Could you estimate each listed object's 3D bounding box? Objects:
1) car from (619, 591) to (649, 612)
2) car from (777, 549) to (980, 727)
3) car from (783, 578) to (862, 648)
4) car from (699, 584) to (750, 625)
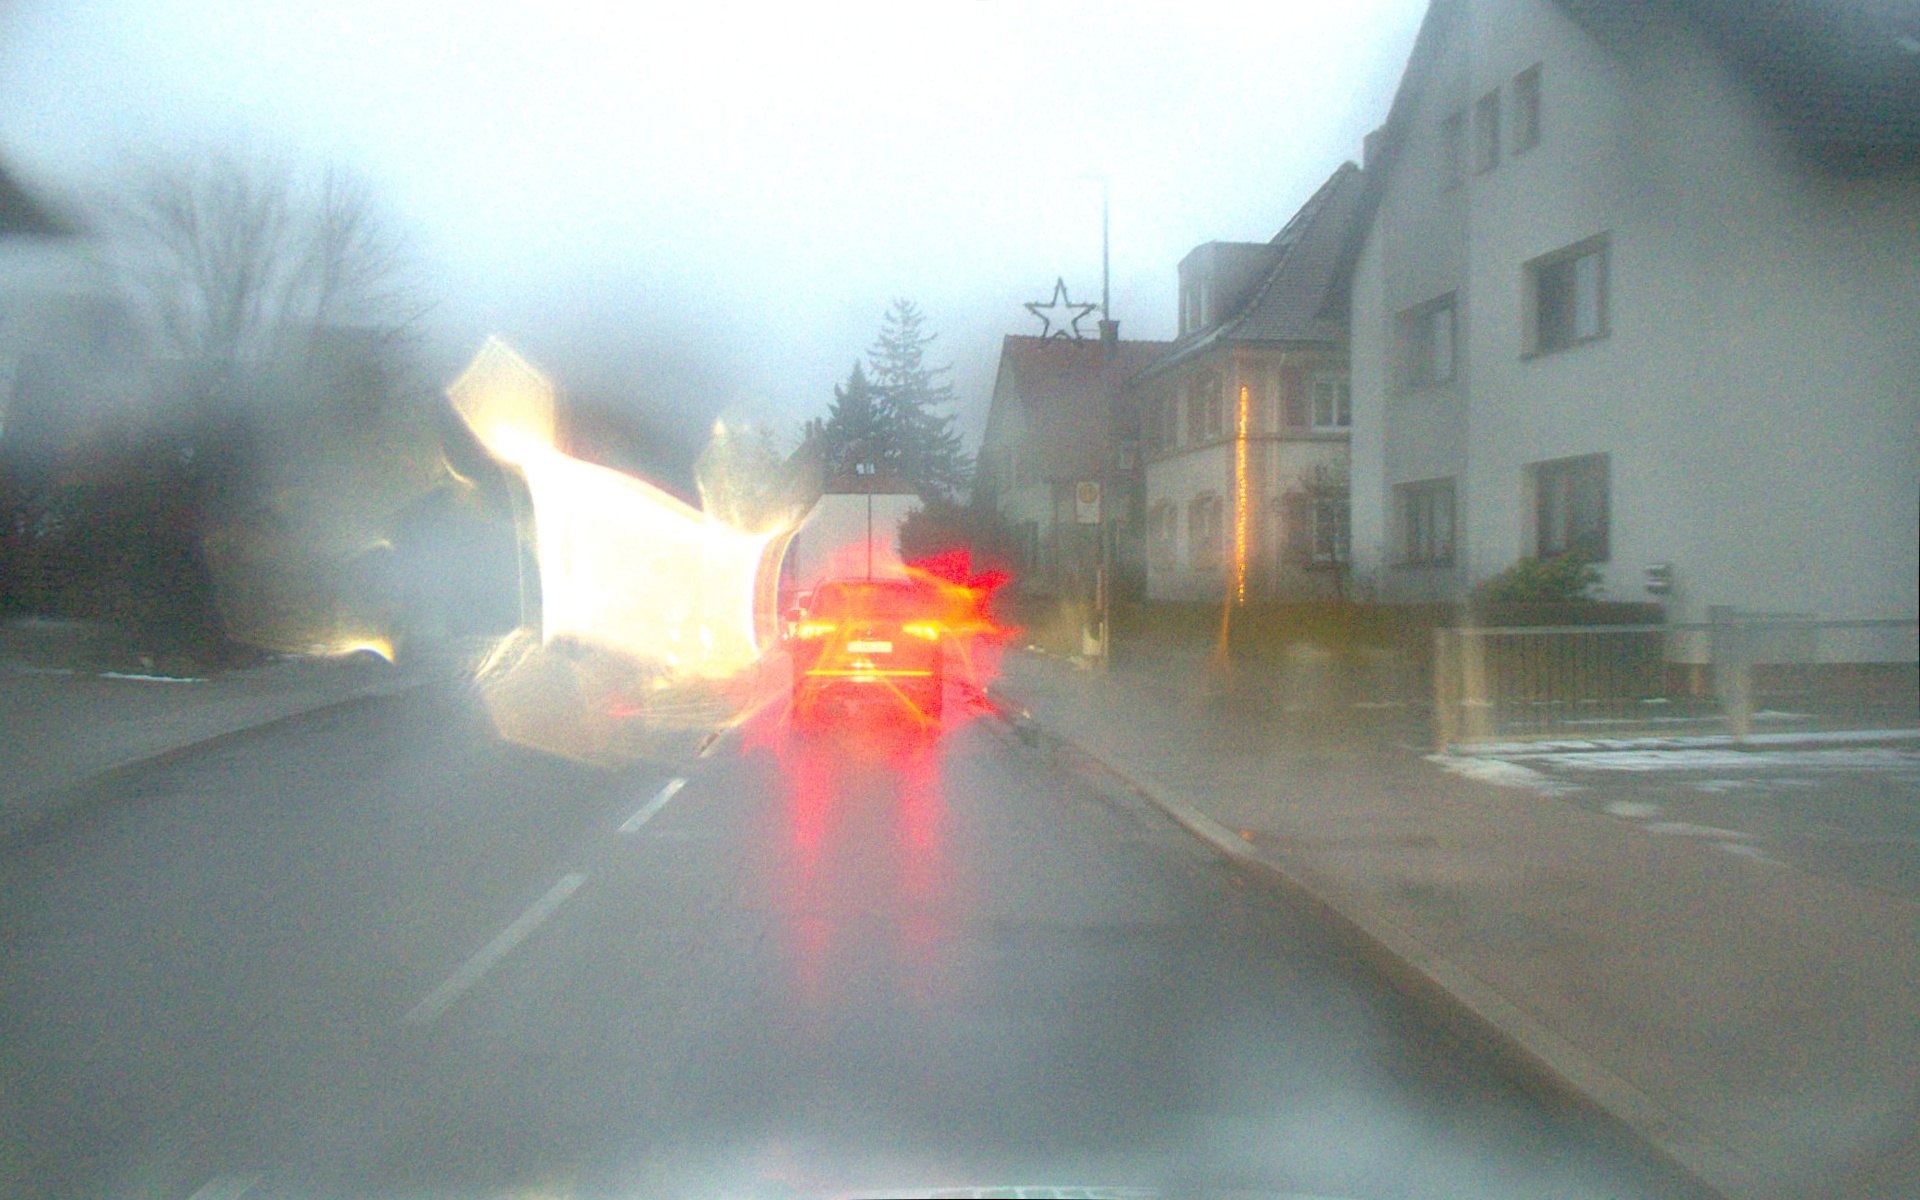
[{"bbox_3d":[-21.760,0.066,110.360,1.811,1.355,3.923,-1,0,-14],"label":"car"},{"bbox_3d":[-1.138,0.422,21.032,2.265,1.972,5.012,0,0,-5],"label":"car"},{"bbox_3d":[-3.512,0.289,41.707,1.822,1.676,3.994,1,1,-7],"label":"car"},{"bbox_3d":[-11.893,0.219,83.312,2.269,1.972,5.003,0,0,-12],"label":"car"}]
